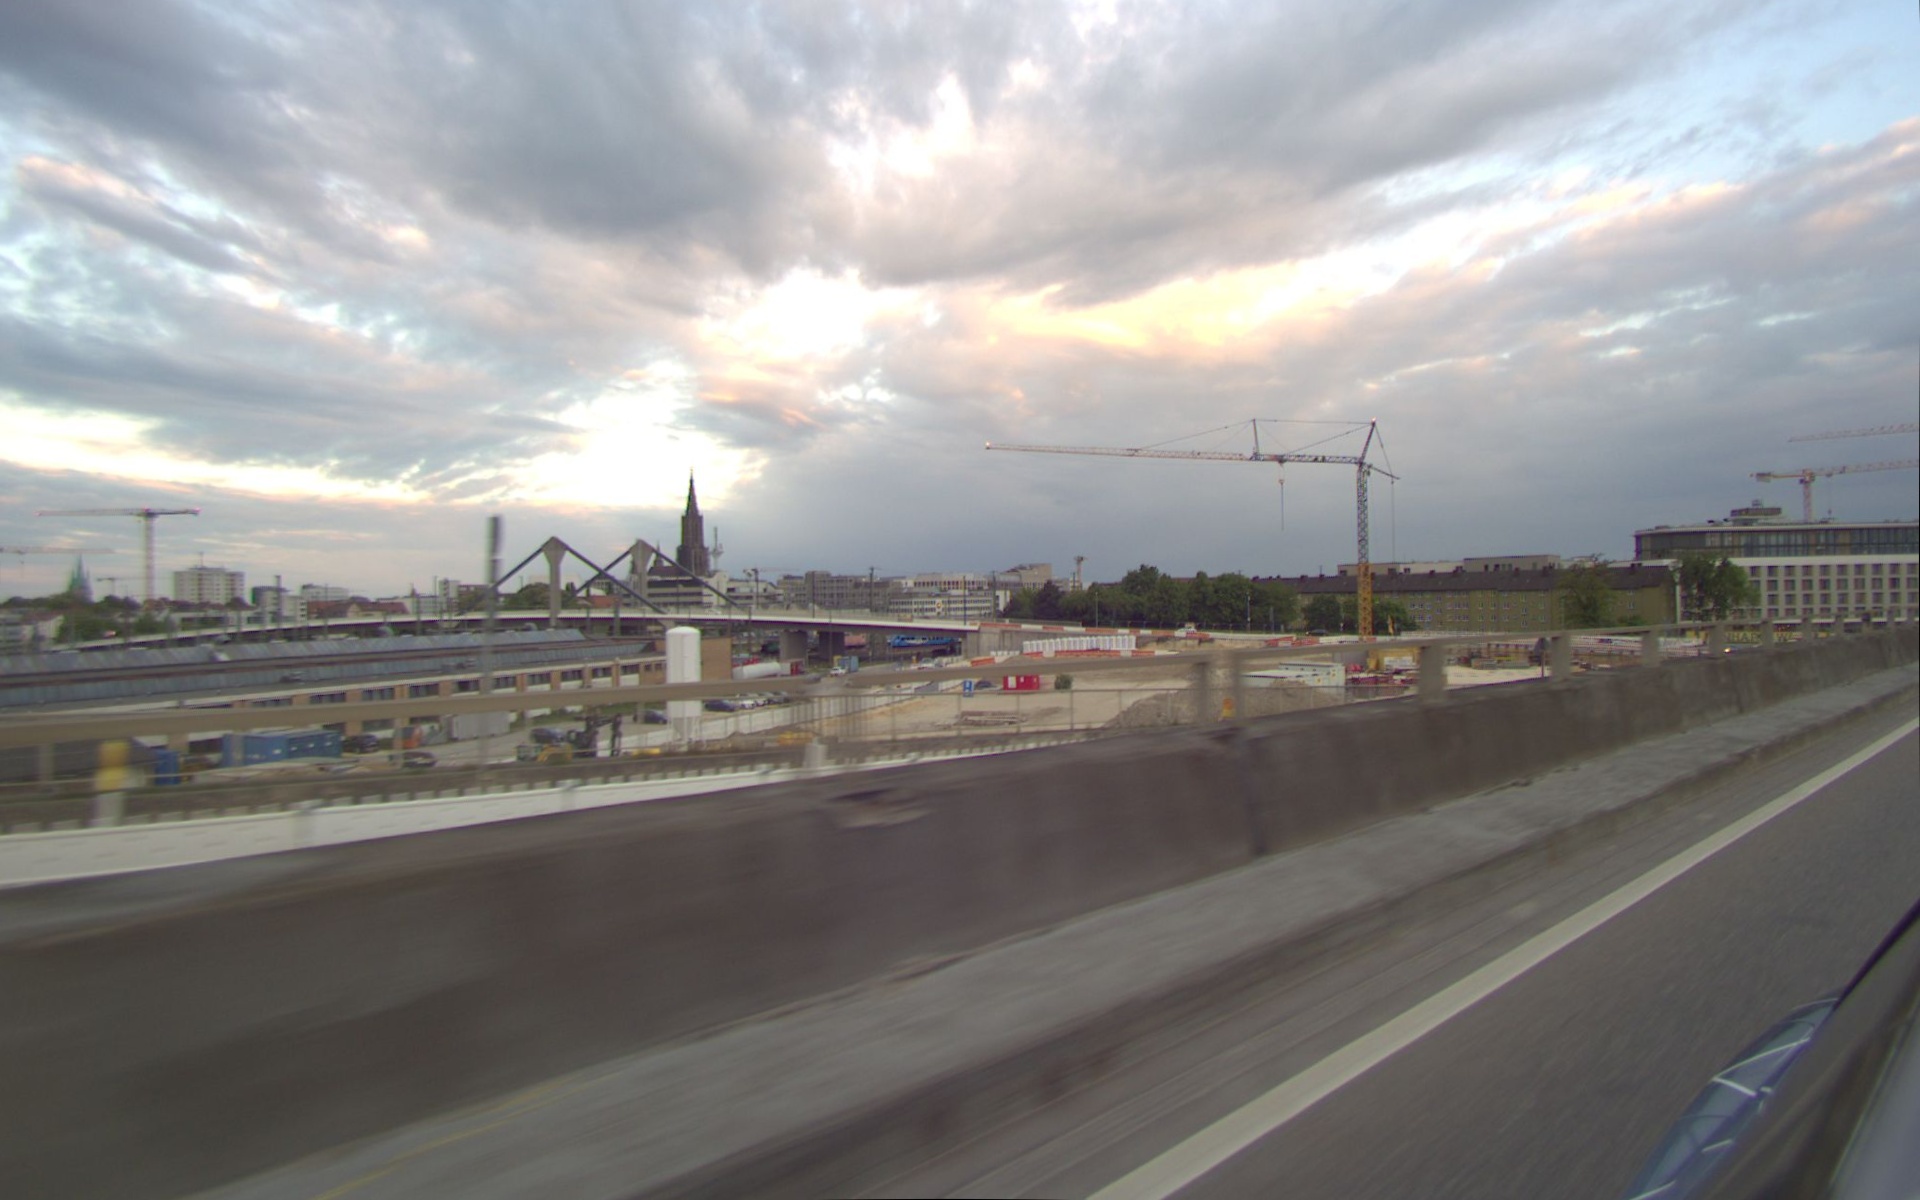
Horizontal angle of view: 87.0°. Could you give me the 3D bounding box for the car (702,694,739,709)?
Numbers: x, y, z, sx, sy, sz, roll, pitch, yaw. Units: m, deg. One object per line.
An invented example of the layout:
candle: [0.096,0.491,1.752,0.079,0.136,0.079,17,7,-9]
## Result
car: [-28.130,11.899,118.884,3.951,1.439,1.857,-6,-5,21]

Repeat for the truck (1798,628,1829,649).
truck: [128.320,5.787,152.147,7.206,2.987,2.161,1,-3,-40]

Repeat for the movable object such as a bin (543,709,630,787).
movable object such as a bin: [-22.970,9.116,62.196,4.928,4.368,2.746,-8,-6,38]

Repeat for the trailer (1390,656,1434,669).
trailer: [50.025,6.947,111.996,4.165,1.257,1.786,-1,-2,-9]

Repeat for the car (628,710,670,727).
car: [-32.918,12.581,107.109,3.951,1.439,1.857,-6,-5,21]

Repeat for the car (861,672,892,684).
car: [-12.714,11.901,154.512,4.284,1.540,1.861,-3,0,17]

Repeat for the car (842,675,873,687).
car: [-15.174,12.000,149.842,4.284,1.540,1.861,-3,0,17]

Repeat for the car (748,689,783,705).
car: [-24.314,12.141,126.517,3.951,1.674,1.857,-6,-5,21]

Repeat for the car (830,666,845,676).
car: [-20.902,12.059,172.742,1.416,1.597,3.670,-5,-5,11]

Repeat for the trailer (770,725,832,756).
trailer: [-11.178,9.895,71.256,3.781,1.828,1.993,1,-7,-45]

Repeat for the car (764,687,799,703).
car: [-22.757,12.080,128.994,3.951,1.674,1.857,-6,-5,21]

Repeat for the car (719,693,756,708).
car: [-26.659,12.043,121.306,3.951,1.439,1.857,-6,-5,21]

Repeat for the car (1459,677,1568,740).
car: [16.691,3.189,30.462,3.932,1.510,1.752,1,-1,-43]

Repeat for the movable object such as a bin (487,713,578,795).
movable object such as a bin: [-24.975,8.963,58.997,4.928,4.368,2.746,-8,-6,38]

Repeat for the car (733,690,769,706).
car: [-25.670,12.022,124.185,3.951,1.738,1.857,-6,-5,21]
